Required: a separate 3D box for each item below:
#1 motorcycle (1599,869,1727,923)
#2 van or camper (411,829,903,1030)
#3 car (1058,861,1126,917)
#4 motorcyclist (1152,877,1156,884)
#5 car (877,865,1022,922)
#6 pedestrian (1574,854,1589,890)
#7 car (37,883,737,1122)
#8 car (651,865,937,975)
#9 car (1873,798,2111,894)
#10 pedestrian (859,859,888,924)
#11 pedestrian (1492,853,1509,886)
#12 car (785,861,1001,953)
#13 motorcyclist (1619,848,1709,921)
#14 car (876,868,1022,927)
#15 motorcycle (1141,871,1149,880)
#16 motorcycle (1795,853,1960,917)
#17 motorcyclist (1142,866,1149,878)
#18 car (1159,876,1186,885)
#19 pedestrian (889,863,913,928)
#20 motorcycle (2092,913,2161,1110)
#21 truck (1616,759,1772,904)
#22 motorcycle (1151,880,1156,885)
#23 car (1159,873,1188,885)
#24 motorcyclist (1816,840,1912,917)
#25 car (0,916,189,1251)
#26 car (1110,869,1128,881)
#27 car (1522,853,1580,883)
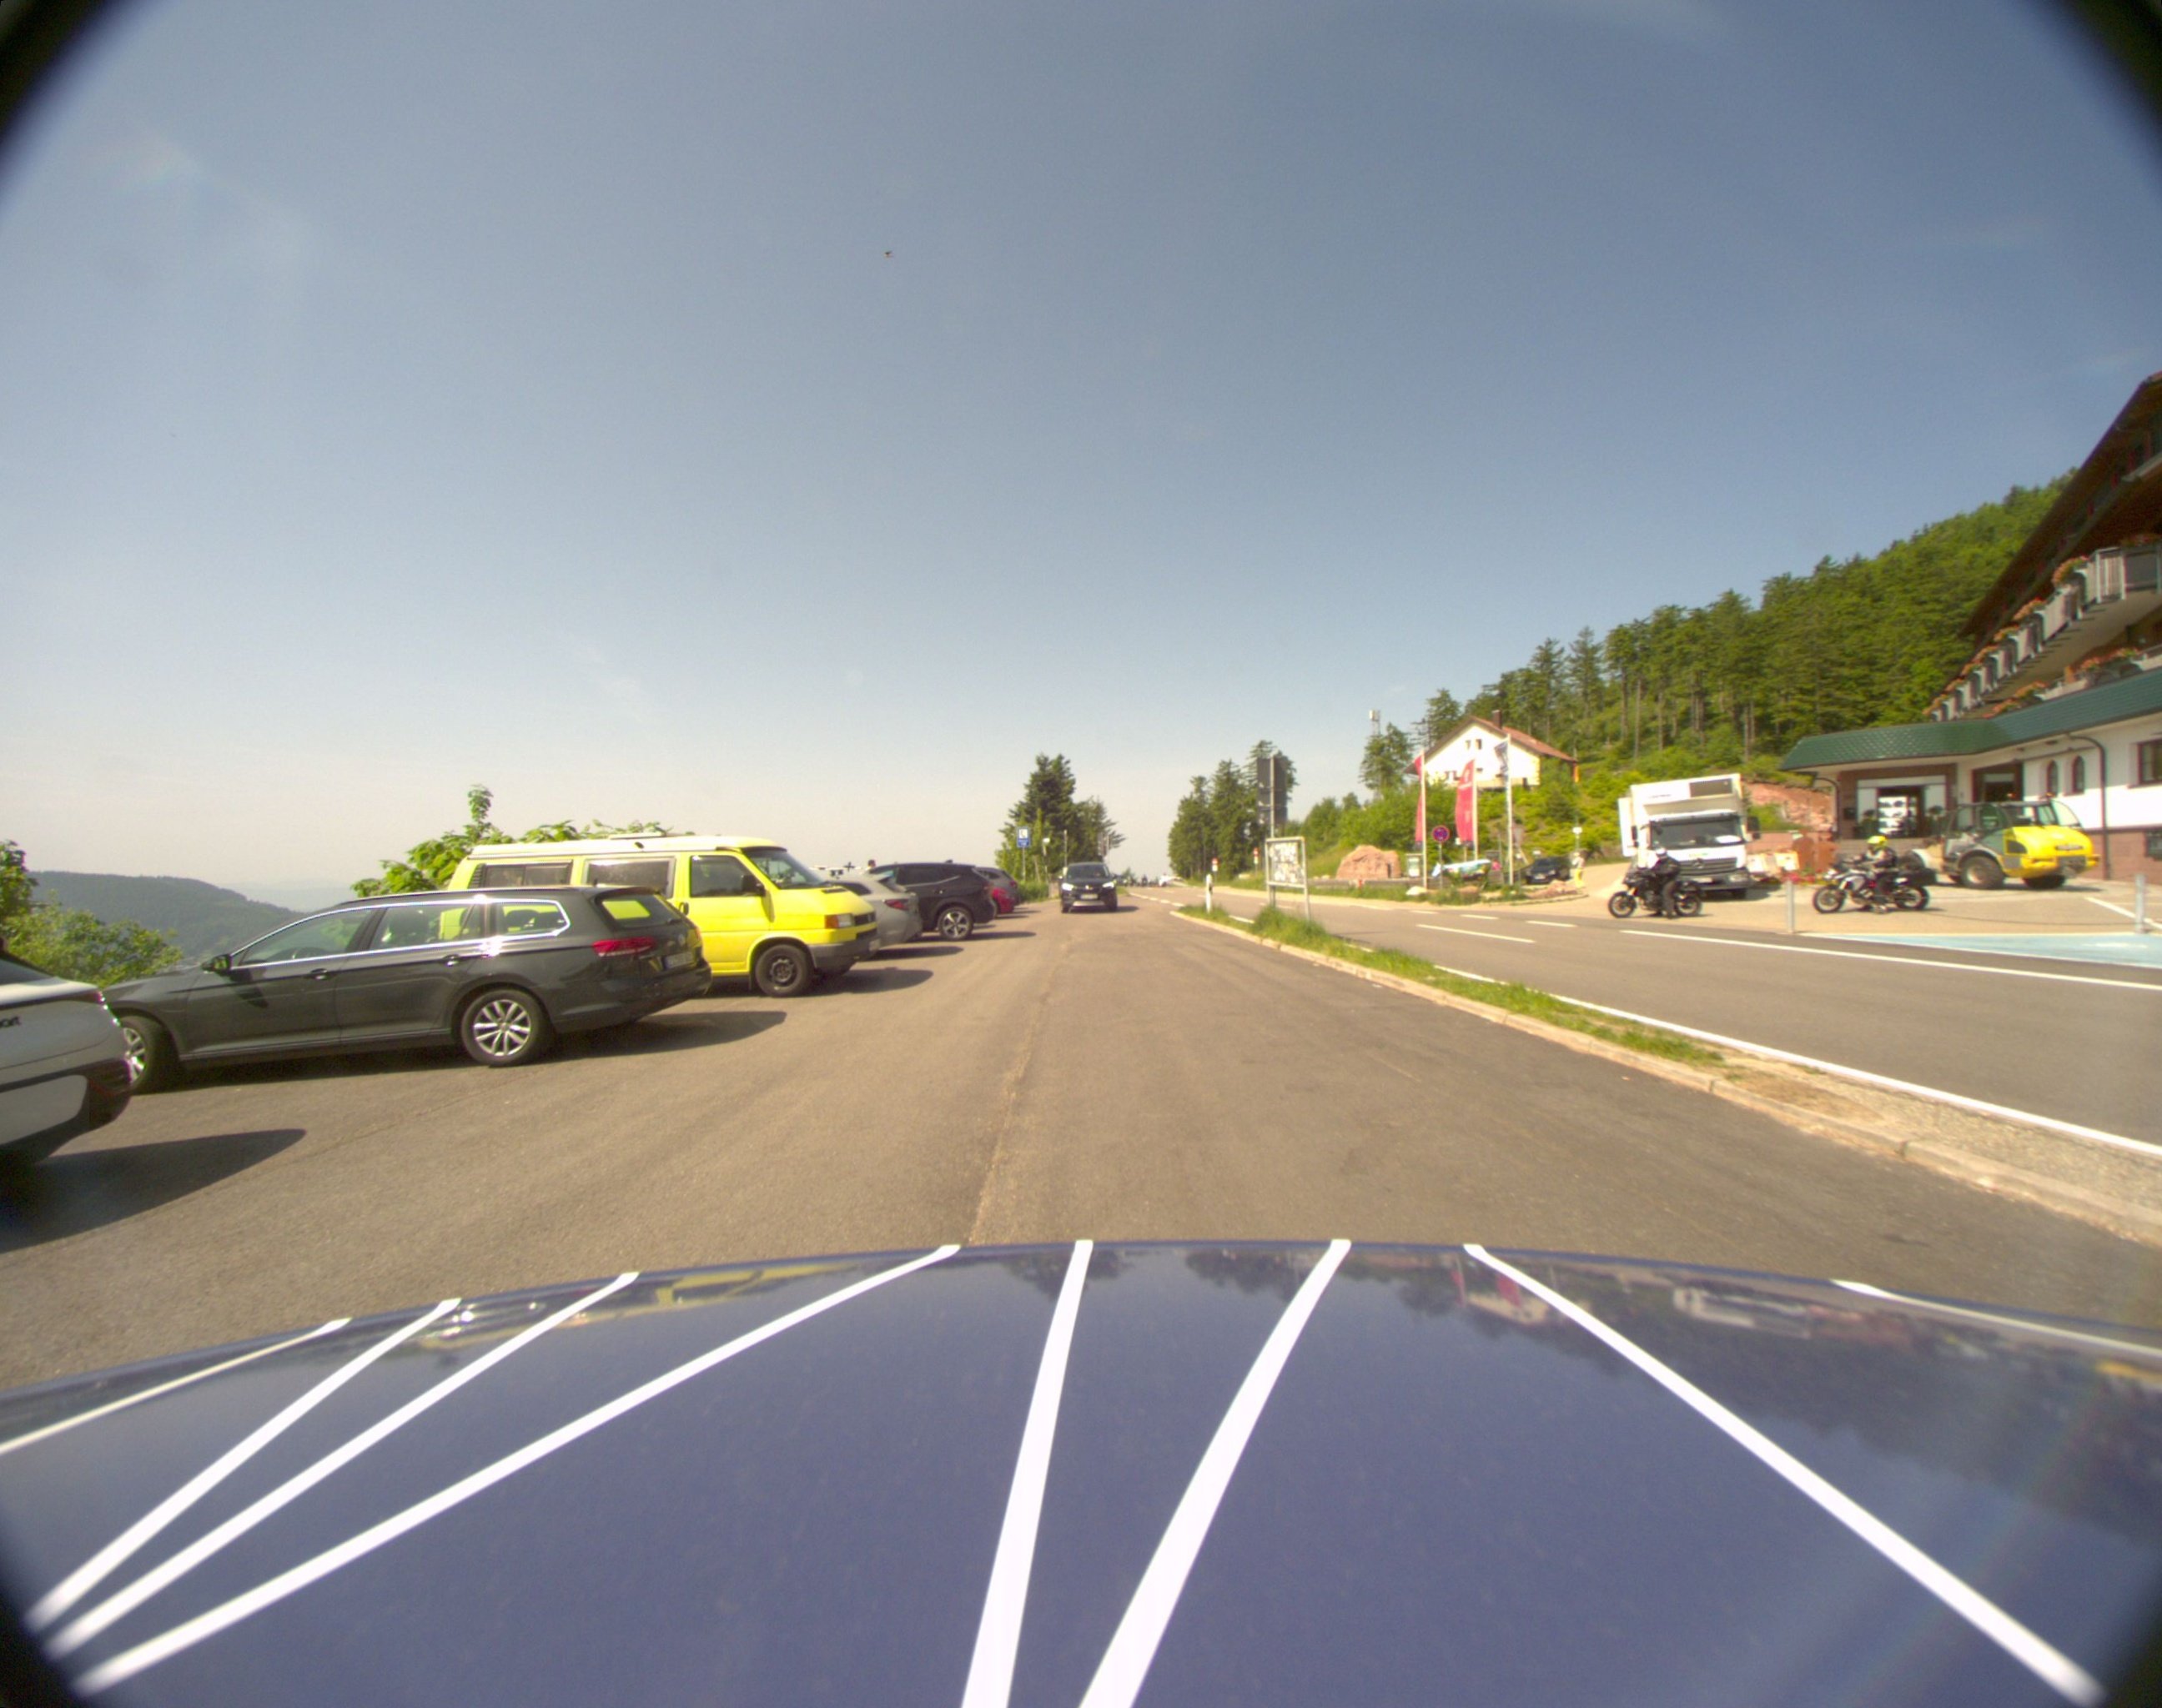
[{"bbox_3d":[14.199,1.032,18.616,2.273,1.249,0.880,-2,-1,15],"label":"motorcycle"},{"bbox_3d":[-5.093,0.889,9.658,5.103,2.001,1.882,-4,-1,1],"label":"van or camper"},{"bbox_3d":[0.445,1.065,24.523,1.984,1.607,4.151,-1,0,4],"label":"car"},{"bbox_3d":[16.288,5.987,170.305,0.840,1.432,1.006,-1,1,8],"label":"motorcyclist"},{"bbox_3d":[-4.248,1.233,24.742,4.411,1.559,1.906,-3,-1,-10],"label":"car"},{"bbox_3d":[23.188,0.830,35.183,0.574,1.679,0.654,0,0,32],"label":"pedestrian"},{"bbox_3d":[-5.695,1.159,6.743,4.362,1.478,1.812,-4,-1,-3],"label":"car"},{"bbox_3d":[-4.732,1.070,12.953,4.161,1.579,1.705,-2,0,0],"label":"car"},{"bbox_3d":[25.704,-0.262,21.713,1.998,2.482,3.999,0,2,2],"label":"car"},{"bbox_3d":[-6.290,1.127,23.047,0.610,1.889,0.678,-3,1,-5],"label":"pedestrian"},{"bbox_3d":[21.446,0.791,38.864,0.697,1.706,0.800,0,0,32],"label":"pedestrian"},{"bbox_3d":[-3.734,1.020,15.617,4.000,1.604,1.915,-2,0,-9],"label":"car"},{"bbox_3d":[14.232,0.749,18.585,1.449,1.707,0.927,-2,-1,15],"label":"motorcyclist"},{"bbox_3d":[-3.871,1.222,22.206,4.001,1.500,1.841,-2,-1,-13],"label":"car"},{"bbox_3d":[8.736,2.933,103.883,0.813,1.258,2.328,1,-1,1],"label":"motorcycle"},{"bbox_3d":[18.414,0.712,17.675,2.439,1.398,1.008,-2,1,26],"label":"motorcycle"},{"bbox_3d":[8.765,2.489,103.817,0.881,1.632,1.299,1,-1,1],"label":"motorcyclist"},{"bbox_3d":[14.696,4.263,121.961,3.928,1.365,1.932,2,-1,-1],"label":"car"},{"bbox_3d":[-4.869,1.111,20.551,0.505,1.714,0.566,-3,1,-16],"label":"pedestrian"},{"bbox_3d":[7.167,0.982,3.883,0.825,1.170,2.284,-1,0,-9],"label":"motorcycle"},{"bbox_3d":[20.039,-0.694,25.409,3.062,3.949,8.787,-3,0,34],"label":"truck"},{"bbox_3d":[16.301,6.434,170.439,0.840,1.089,2.184,-1,0,8],"label":"motorcycle"},{"bbox_3d":[16.180,4.322,133.159,4.729,1.870,1.932,2,-1,-1],"label":"car"},{"bbox_3d":[18.259,0.557,17.759,1.245,1.710,1.066,-2,1,26],"label":"motorcyclist"},{"bbox_3d":[-7.083,1.195,3.044,4.101,1.491,1.941,-2,1,-16],"label":"car"},{"bbox_3d":[4.538,2.493,91.261,1.781,1.448,3.999,0,-1,-4],"label":"car"},{"bbox_3d":[27.377,0.787,44.205,4.006,1.347,1.874,-6,4,-43],"label":"car"}]
